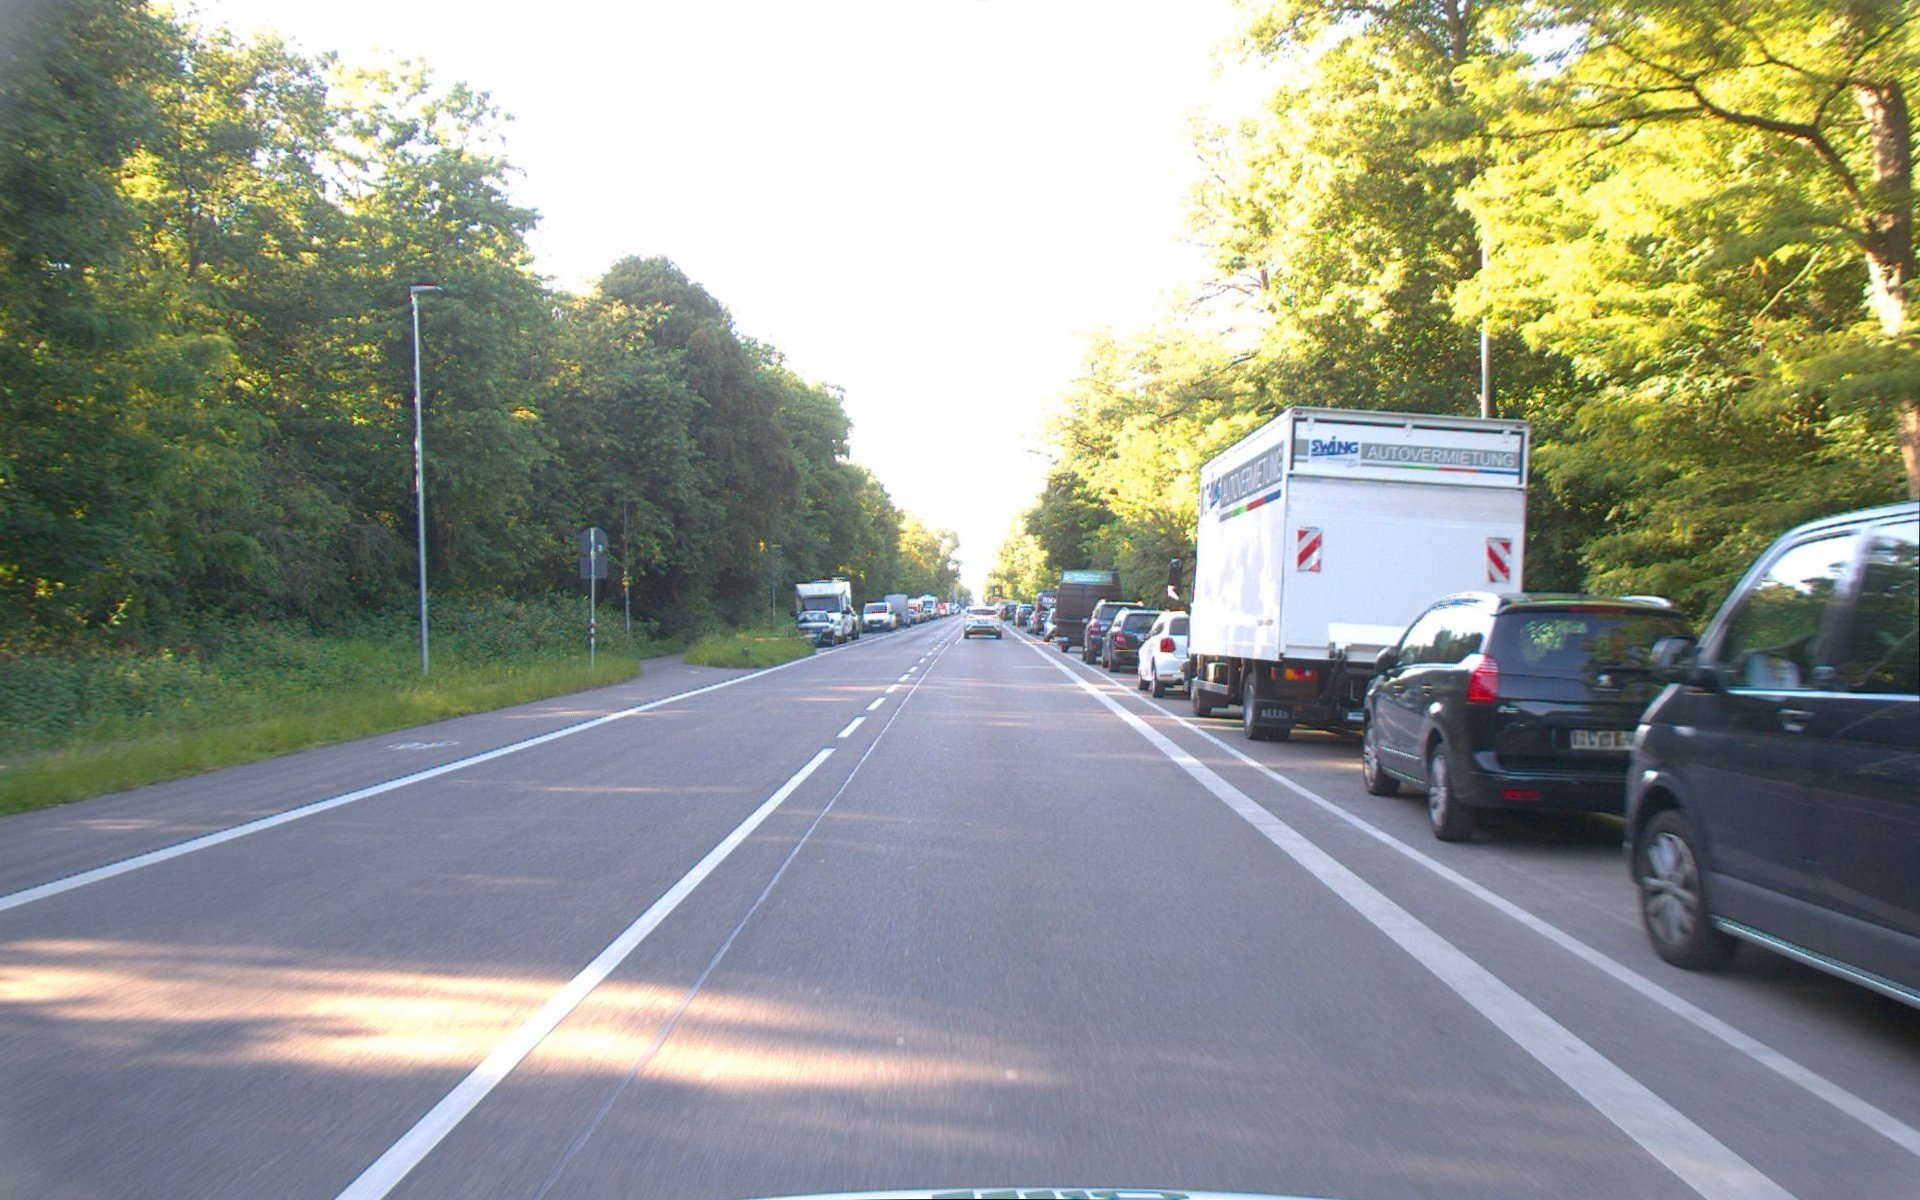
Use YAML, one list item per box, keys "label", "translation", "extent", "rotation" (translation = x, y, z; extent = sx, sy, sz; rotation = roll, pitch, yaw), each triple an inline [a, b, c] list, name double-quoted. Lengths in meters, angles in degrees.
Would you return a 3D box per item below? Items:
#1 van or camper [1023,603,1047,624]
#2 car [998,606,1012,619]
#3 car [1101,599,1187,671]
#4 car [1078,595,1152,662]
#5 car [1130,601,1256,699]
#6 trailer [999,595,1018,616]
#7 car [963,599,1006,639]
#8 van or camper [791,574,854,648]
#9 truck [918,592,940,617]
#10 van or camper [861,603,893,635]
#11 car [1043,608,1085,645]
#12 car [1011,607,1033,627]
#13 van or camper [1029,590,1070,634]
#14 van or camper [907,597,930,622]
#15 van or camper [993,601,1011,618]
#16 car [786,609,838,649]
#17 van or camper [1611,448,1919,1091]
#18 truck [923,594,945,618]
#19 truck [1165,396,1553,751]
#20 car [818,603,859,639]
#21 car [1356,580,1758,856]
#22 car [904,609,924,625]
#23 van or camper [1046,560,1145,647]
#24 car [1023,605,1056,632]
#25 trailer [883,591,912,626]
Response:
- label: "van or camper"
  translation: [6.365, 1.144, 141.207]
  extent: [1.911, 1.847, 4.381]
  rotation: [0, 0, 1]
- label: "car"
  translation: [5.896, 1.681, 217.590]
  extent: [1.803, 1.691, 4.001]
  rotation: [0, 0, 1]
- label: "car"
  translation: [4.368, 0.792, 39.826]
  extent: [1.676, 1.596, 4.552]
  rotation: [2, 0, 2]
- label: "car"
  translation: [4.198, 0.750, 45.340]
  extent: [1.676, 1.694, 4.552]
  rotation: [2, 0, 2]
- label: "car"
  translation: [4.091, 0.834, 29.580]
  extent: [1.676, 1.596, 4.000]
  rotation: [2, 0, 0]
- label: "trailer"
  translation: [6.981, 0.845, 239.521]
  extent: [2.700, 2.920, 6.589]
  rotation: [0, 0, 1]
- label: "car"
  translation: [1.205, 0.891, 79.473]
  extent: [1.987, 1.872, 4.029]
  rotation: [-1, 0, 1]
- label: "van or camper"
  translation: [-6.078, 0.496, 73.800]
  extent: [2.268, 3.021, 7.108]
  rotation: [-3, 0, -2]
- label: "truck"
  translation: [-4.355, 0.681, 235.201]
  extent: [2.652, 3.406, 10.924]
  rotation: [0, 0, 1]
- label: "van or camper"
  translation: [-5.402, 1.220, 107.994]
  extent: [1.798, 1.945, 4.855]
  rotation: [-2, 0, 0]
- label: "car"
  translation: [4.592, 1.153, 73.563]
  extent: [1.676, 1.572, 4.023]
  rotation: [2, 0, 2]
- label: "car"
  translation: [5.022, 1.397, 134.836]
  extent: [1.655, 1.551, 4.150]
  rotation: [1, 0, 1]
- label: "van or camper"
  translation: [5.079, 0.665, 94.551]
  extent: [1.993, 2.352, 6.040]
  rotation: [-1, 0, 0]
- label: "van or camper"
  translation: [-4.396, 1.031, 176.605]
  extent: [2.077, 2.617, 6.542]
  rotation: [-1, 0, 1]
- label: "van or camper"
  translation: [4.930, 1.134, 194.754]
  extent: [1.952, 1.966, 5.199]
  rotation: [1, 0, 1]
- label: "car"
  translation: [-5.917, 1.151, 66.638]
  extent: [1.790, 1.501, 4.679]
  rotation: [-2, 0, -2]
- label: "van or camper"
  translation: [3.986, 0.532, 5.533]
  extent: [1.858, 2.049, 4.587]
  rotation: [-1, 0, 1]
- label: "truck"
  translation: [-3.527, 0.789, 224.043]
  extent: [2.652, 3.148, 7.989]
  rotation: [0, 0, 1]
- label: "truck"
  translation: [4.562, -0.269, 20.982]
  extent: [2.774, 3.559, 8.577]
  rotation: [-1, 0, 0]
- label: "car"
  translation: [-6.010, 1.015, 82.048]
  extent: [1.612, 1.660, 4.274]
  rotation: [-2, 0, 1]
- label: "car"
  translation: [4.150, 0.732, 12.197]
  extent: [1.761, 1.686, 4.031]
  rotation: [-1, 0, 4]
- label: "car"
  translation: [-4.390, 1.609, 157.636]
  extent: [1.696, 1.504, 4.324]
  rotation: [-2, 0, 1]
- label: "van or camper"
  translation: [4.850, 0.098, 58.075]
  extent: [2.389, 2.849, 6.562]
  rotation: [-1, 0, 14]
- label: "car"
  translation: [4.860, 1.132, 101.274]
  extent: [1.712, 1.542, 3.999]
  rotation: [-2, 0, -1]
- label: "trailer"
  translation: [-4.943, 0.686, 130.845]
  extent: [1.952, 2.643, 4.416]
  rotation: [-3, 0, 1]
